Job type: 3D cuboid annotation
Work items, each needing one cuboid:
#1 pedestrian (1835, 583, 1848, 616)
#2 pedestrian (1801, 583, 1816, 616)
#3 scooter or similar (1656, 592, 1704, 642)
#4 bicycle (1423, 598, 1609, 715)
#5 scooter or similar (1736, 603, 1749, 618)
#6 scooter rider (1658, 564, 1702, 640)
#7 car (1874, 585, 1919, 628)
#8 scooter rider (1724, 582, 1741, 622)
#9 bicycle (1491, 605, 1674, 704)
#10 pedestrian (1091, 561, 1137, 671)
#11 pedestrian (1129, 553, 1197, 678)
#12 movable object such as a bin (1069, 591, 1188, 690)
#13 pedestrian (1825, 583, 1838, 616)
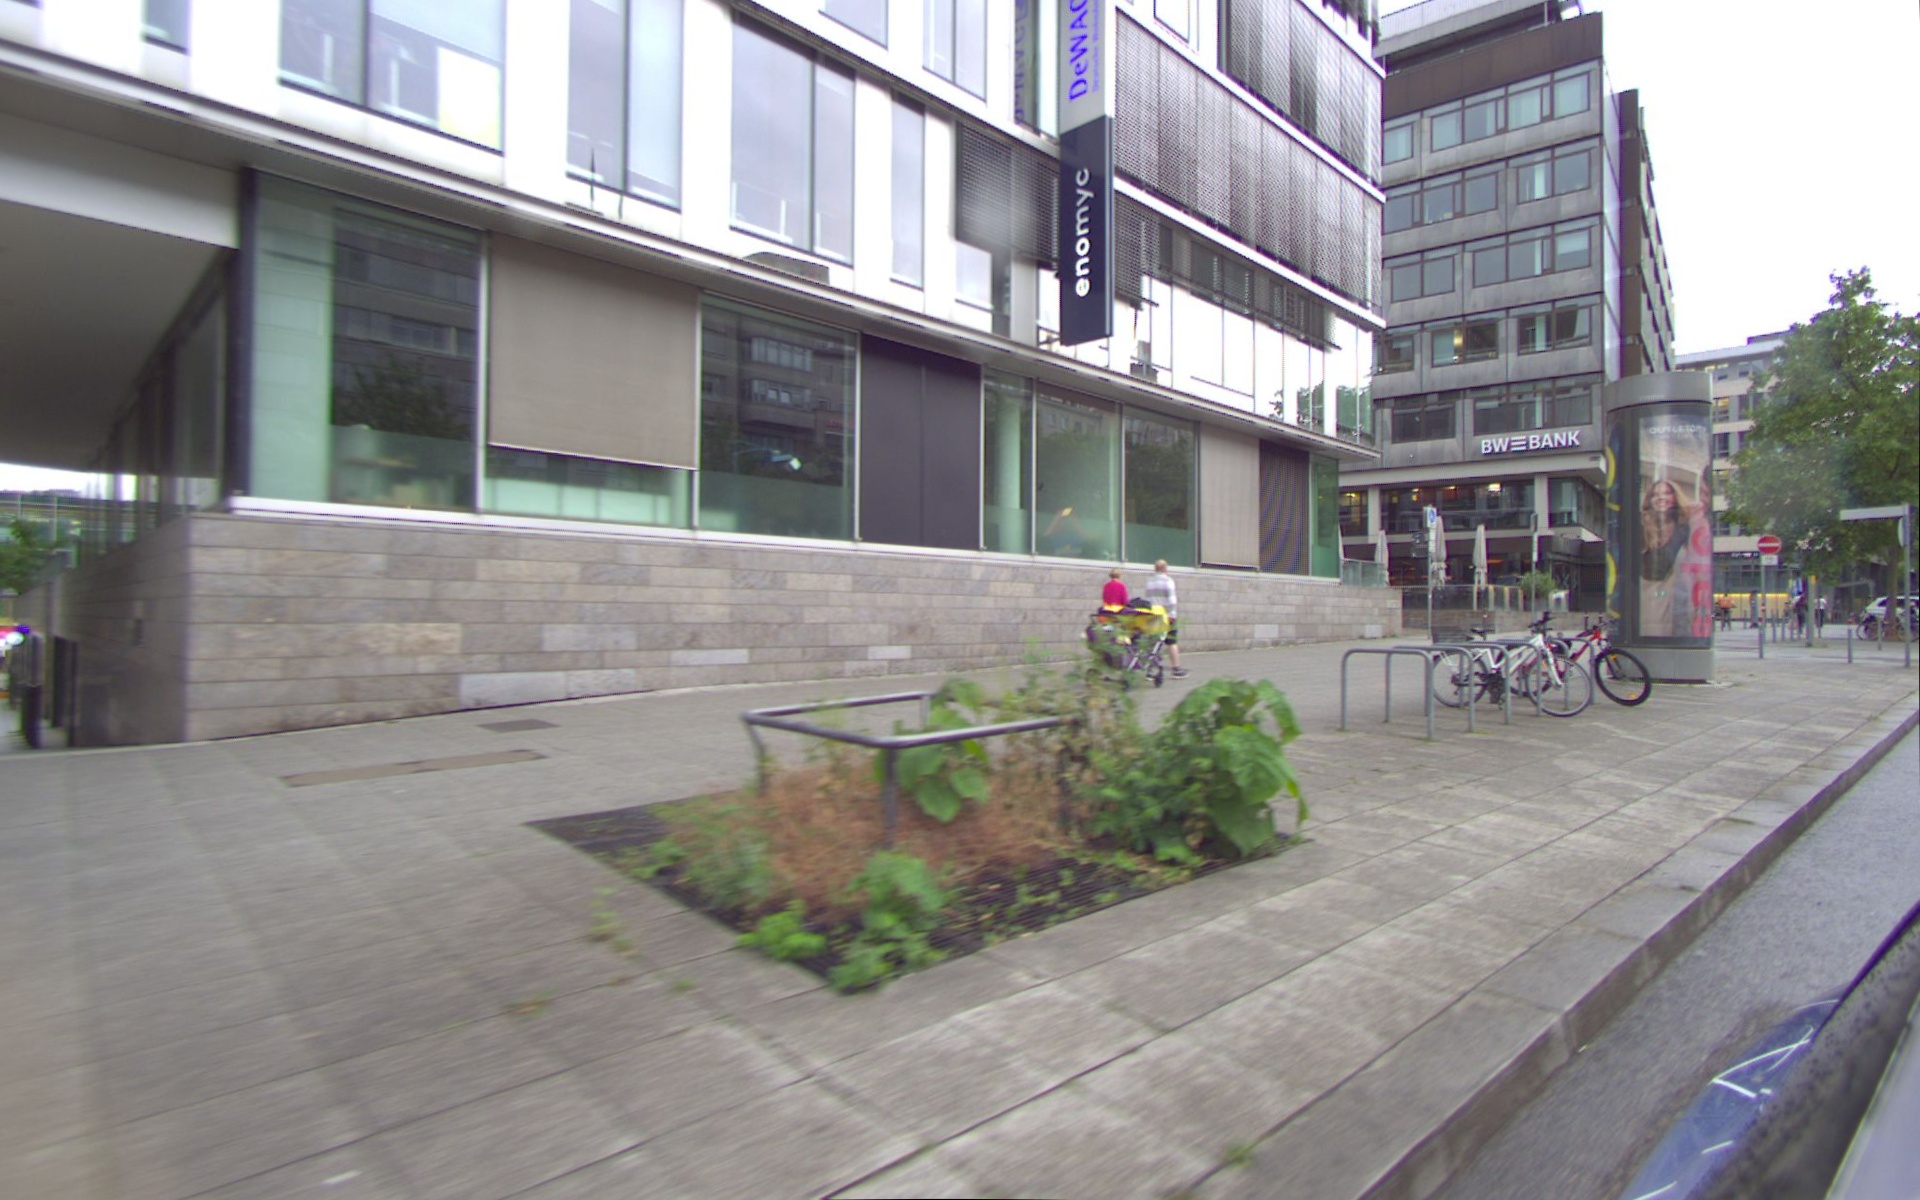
[{"bbox_3d":[45.992,-0.041,52.784,0.488,1.723,0.451,-1,0,-42],"label":"pedestrian"},{"bbox_3d":[45.079,-0.046,53.785,0.538,1.723,0.551,-1,0,-42],"label":"pedestrian"},{"bbox_3d":[19.815,0.454,27.845,1.311,1.322,0.779,0,0,-40],"label":"scooter or similar"},{"bbox_3d":[6.409,0.608,11.720,1.789,1.222,0.660,1,1,41],"label":"bicycle"},{"bbox_3d":[40.237,0.537,52.032,0.407,0.782,1.256,0,0,44],"label":"scooter or similar"},{"bbox_3d":[19.812,0.052,27.846,0.908,2.046,0.779,0,0,-40],"label":"scooter rider"},{"bbox_3d":[41.540,0.231,42.560,1.959,1.835,4.218,-1,-1,-9],"label":"car"},{"bbox_3d":[39.894,0.076,52.257,0.626,2.051,0.841,-1,0,44],"label":"scooter rider"},{"bbox_3d":[7.861,0.645,12.848,0.658,1.124,1.873,0,1,-42],"label":"bicycle"},{"bbox_3d":[2.454,0.239,16.134,0.484,1.720,0.570,1,1,45],"label":"pedestrian"},{"bbox_3d":[3.095,0.217,15.414,0.722,1.853,0.735,1,1,45],"label":"pedestrian"},{"bbox_3d":[2.405,0.529,14.299,0.803,1.281,1.759,1,1,44],"label":"movable object such as a bin"},{"bbox_3d":[45.667,-0.041,53.010,0.488,1.723,0.451,-1,0,-42],"label":"pedestrian"}]
